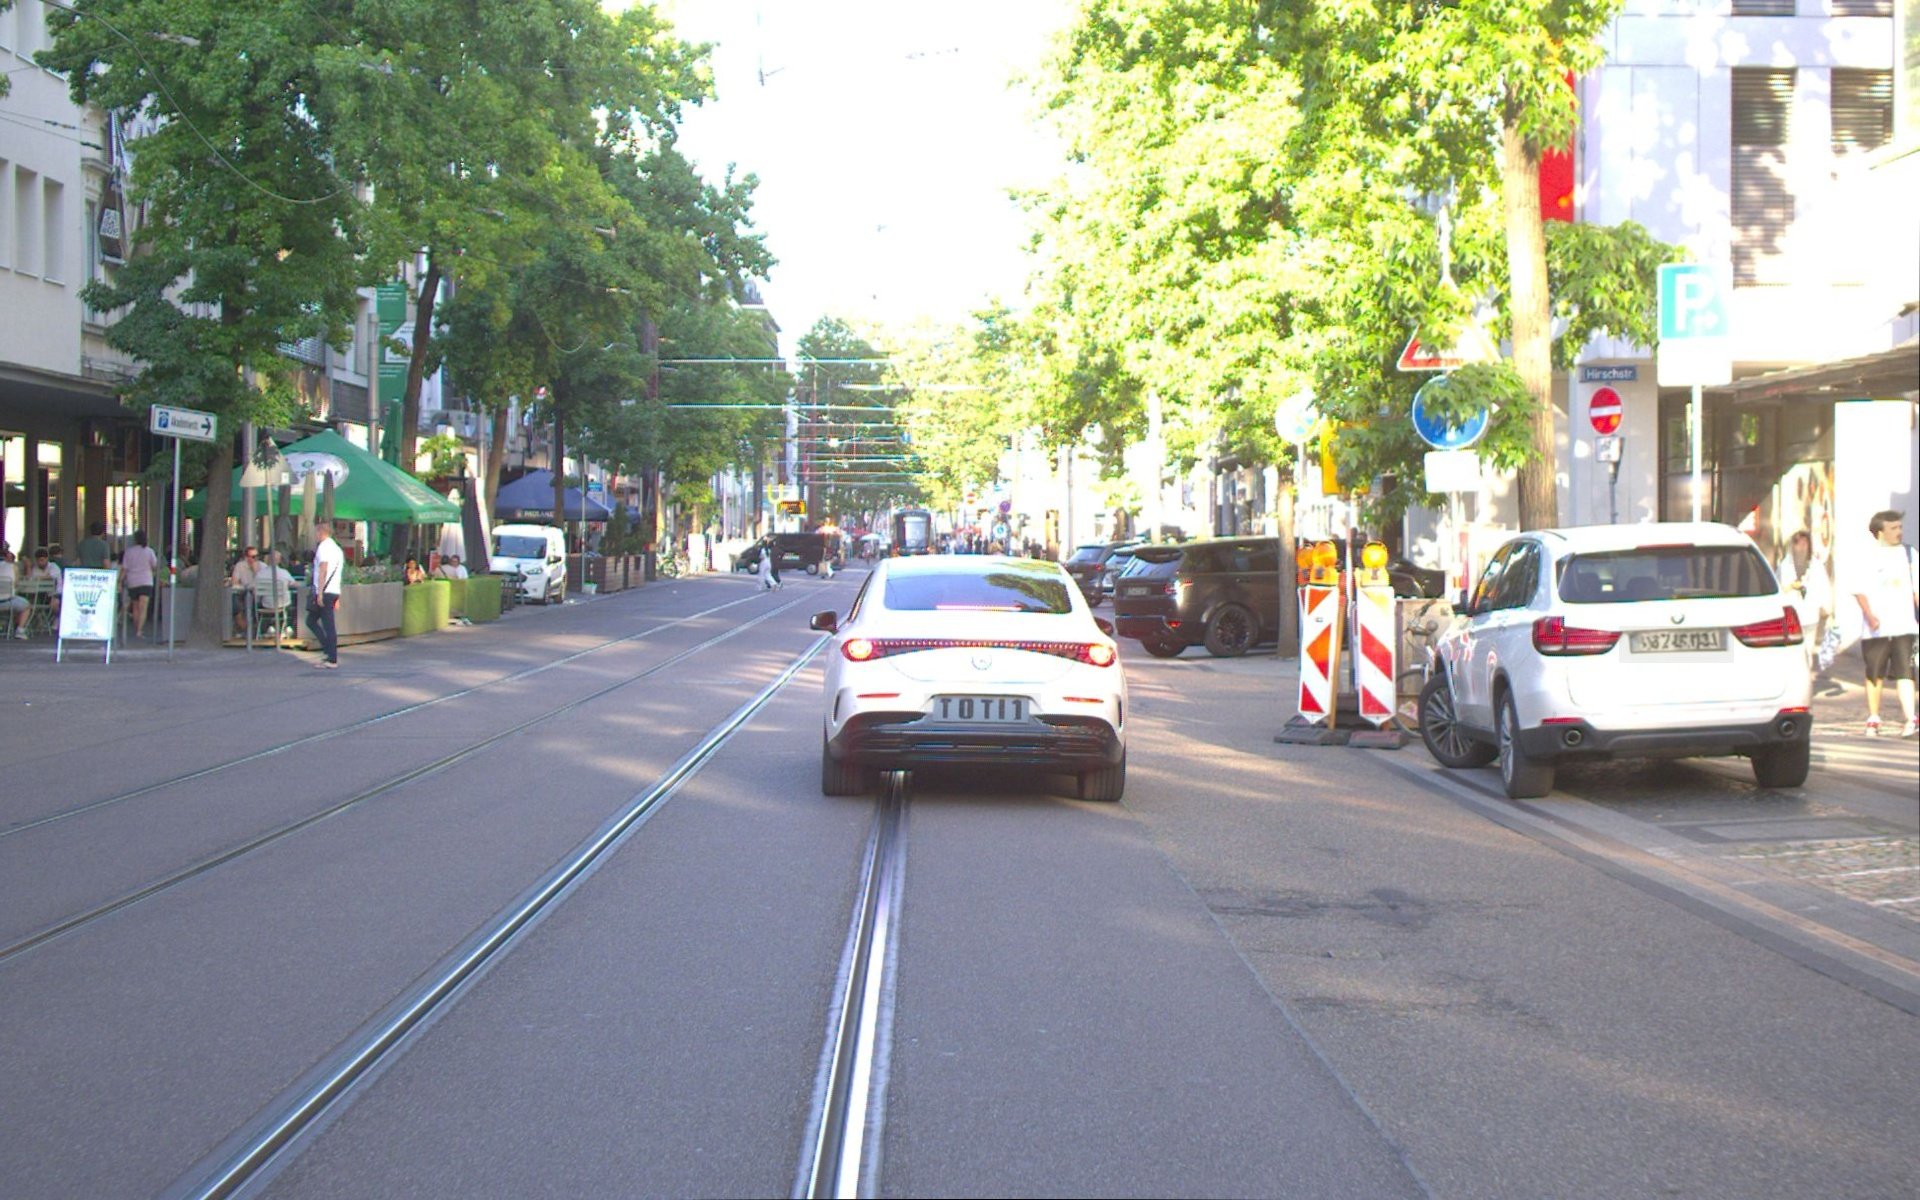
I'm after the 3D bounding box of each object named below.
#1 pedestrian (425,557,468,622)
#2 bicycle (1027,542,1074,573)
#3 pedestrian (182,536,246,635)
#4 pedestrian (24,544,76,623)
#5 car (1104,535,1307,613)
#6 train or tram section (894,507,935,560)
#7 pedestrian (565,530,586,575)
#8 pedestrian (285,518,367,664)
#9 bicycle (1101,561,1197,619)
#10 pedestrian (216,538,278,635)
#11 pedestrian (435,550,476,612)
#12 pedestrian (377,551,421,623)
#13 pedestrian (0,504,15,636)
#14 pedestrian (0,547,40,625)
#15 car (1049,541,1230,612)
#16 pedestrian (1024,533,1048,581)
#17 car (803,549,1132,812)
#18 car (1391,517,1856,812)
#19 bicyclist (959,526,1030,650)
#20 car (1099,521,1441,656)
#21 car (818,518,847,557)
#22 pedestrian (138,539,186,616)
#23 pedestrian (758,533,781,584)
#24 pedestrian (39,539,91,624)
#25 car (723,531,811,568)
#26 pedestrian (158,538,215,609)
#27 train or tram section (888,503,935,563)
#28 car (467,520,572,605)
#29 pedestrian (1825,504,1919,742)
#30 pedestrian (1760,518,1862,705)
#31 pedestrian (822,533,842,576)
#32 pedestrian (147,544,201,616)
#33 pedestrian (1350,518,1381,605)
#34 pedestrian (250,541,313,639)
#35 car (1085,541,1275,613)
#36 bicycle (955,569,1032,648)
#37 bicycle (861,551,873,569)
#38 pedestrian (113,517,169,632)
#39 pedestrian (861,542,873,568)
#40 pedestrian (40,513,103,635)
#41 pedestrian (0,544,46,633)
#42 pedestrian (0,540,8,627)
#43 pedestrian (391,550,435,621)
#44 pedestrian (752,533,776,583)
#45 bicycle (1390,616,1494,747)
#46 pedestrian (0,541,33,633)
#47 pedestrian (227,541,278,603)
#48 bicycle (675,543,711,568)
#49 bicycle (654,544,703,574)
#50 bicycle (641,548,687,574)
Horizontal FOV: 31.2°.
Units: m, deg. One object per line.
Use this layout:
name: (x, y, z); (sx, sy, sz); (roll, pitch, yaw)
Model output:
pedestrian: (-10.142, -0.217, 67.902); (0.657, 1.240, 0.873); (3, 1, -1)
bicycle: (3.850, -1.813, 146.335); (1.908, 1.277, 0.610); (-2, 1, -11)
pedestrian: (-10.693, -0.209, 49.313); (0.689, 1.382, 0.807); (2, 1, 0)
pedestrian: (-13.687, -0.251, 51.708); (0.552, 1.157, 0.687); (2, 1, 0)
car: (5.441, -0.584, 75.987); (4.147, 1.566, 1.854); (-3, 2, -33)
train or tram section: (-3.054, -4.450, 231.258); (2.694, 3.504, 11.144); (0, 1, 0)
pedestrian: (-13.350, -1.663, 119.336); (0.597, 1.527, 0.671); (2, 1, 0)
pedestrian: (-7.680, -0.116, 41.674); (0.795, 1.734, 0.866); (1, 2, 3)
bicycle: (3.915, -0.211, 71.214); (1.890, 1.116, 0.667); (-3, 1, -29)
pedestrian: (-10.400, -0.208, 50.140); (0.689, 1.382, 0.807); (2, 1, 0)
pedestrian: (-10.113, -0.381, 68.952); (0.657, 1.189, 0.798); (3, 1, -1)
pedestrian: (-9.943, -0.231, 60.937); (0.619, 1.240, 0.697); (3, 1, -1)
pedestrian: (-13.410, -0.422, 46.858); (0.685, 1.809, 0.763); (2, 1, 15)
pedestrian: (-14.264, -0.216, 51.875); (0.552, 1.157, 0.687); (2, 1, 0)
car: (4.583, -0.611, 87.613); (4.342, 1.646, 1.694); (-3, 1, -31)
pedestrian: (2.864, -1.629, 130.347); (0.841, 1.795, 0.790); (2, 1, 1)
car: (0.020, 0.429, 21.800); (1.857, 1.450, 4.175); (1, 1, -1)
car: (4.382, 0.352, 23.555); (2.023, 1.731, 4.907); (-2, 1, -2)
bicyclist: (0.464, -0.168, 46.168); (0.778, 1.607, 0.912); (2, 1, 9)
car: (4.588, -0.184, 50.748); (4.651, 1.757, 1.995); (-3, 1, -29)
car: (-9.518, -4.658, 257.587); (1.993, 2.887, 5.275); (0, 1, 0)
pedestrian: (-14.014, -0.396, 60.386); (0.619, 1.305, 0.697); (3, 1, -1)
pedestrian: (-5.919, -1.301, 106.819); (0.622, 1.545, 0.852); (3, 1, 0)
pedestrian: (-14.030, -0.295, 53.890); (0.602, 1.294, 0.687); (2, 1, 0)
car: (-9.260, -2.405, 164.735); (3.986, 1.744, 1.859); (0, 1, -11)
pedestrian: (-14.065, -0.493, 62.553); (0.777, 1.233, 0.945); (3, 1, -1)
train or tram section: (-2.882, -3.999, 206.866); (2.694, 3.504, 12.546); (0, 1, 0)
car: (-10.454, -0.912, 81.877); (1.795, 1.858, 4.553); (3, 1, 1)
pedestrian: (7.165, 0.169, 26.730); (0.705, 1.824, 0.635); (0, 1, -1)
pedestrian: (8.762, 0.105, 35.419); (0.834, 1.891, 0.918); (-1, 1, 2)
pedestrian: (-5.345, -1.887, 143.177); (0.788, 1.795, 0.844); (0, 1, 1)
pedestrian: (-14.052, -0.361, 61.454); (0.736, 1.227, 0.788); (3, 1, -1)
pedestrian: (8.220, -0.787, 69.724); (0.523, 1.744, 0.559); (-2, 1, 2)
pedestrian: (-9.728, -0.149, 49.316); (0.689, 1.382, 0.807); (2, 1, 0)
car: (5.350, -0.557, 83.425); (4.235, 1.582, 1.884); (-3, 1, -31)
bicycle: (0.468, 0.098, 46.268); (0.719, 0.992, 2.058); (2, 1, 9)
bicycle: (-6.381, -2.742, 235.473); (0.800, 1.138, 2.257); (2, 1, -2)
pedestrian: (-12.121, -0.385, 50.883); (0.619, 1.665, 0.697); (2, 1, -1)
pedestrian: (-6.370, -3.064, 235.416); (0.800, 1.776, 0.849); (2, 1, -1)
pedestrian: (-13.012, -0.379, 50.341); (0.678, 1.751, 0.697); (2, 1, 1)
pedestrian: (-13.403, -0.165, 48.951); (0.552, 1.231, 0.687); (2, 1, 0)
pedestrian: (-13.961, -0.242, 48.988); (0.552, 1.231, 0.687); (2, 1, 0)
pedestrian: (-9.832, -0.263, 61.833); (0.619, 1.240, 0.697); (3, 1, -1)
pedestrian: (-6.033, -1.307, 105.648); (0.622, 1.504, 0.833); (3, 1, 0)
bicycle: (3.899, 0.643, 27.892); (0.493, 0.978, 1.930); (0, 1, -2)
pedestrian: (-13.594, -0.196, 48.828); (0.626, 1.277, 0.727); (2, 1, 0)
pedestrian: (-14.116, -0.562, 68.568); (0.753, 1.184, 1.065); (3, 1, -1)
bicycle: (-11.510, -1.931, 148.018); (1.492, 1.025, 0.345); (1, 1, -10)
bicycle: (-10.529, -1.550, 128.609); (1.788, 1.073, 0.377); (2, 1, -4)
bicycle: (-10.809, -1.424, 125.403); (1.596, 0.927, 0.377); (2, 1, 7)
